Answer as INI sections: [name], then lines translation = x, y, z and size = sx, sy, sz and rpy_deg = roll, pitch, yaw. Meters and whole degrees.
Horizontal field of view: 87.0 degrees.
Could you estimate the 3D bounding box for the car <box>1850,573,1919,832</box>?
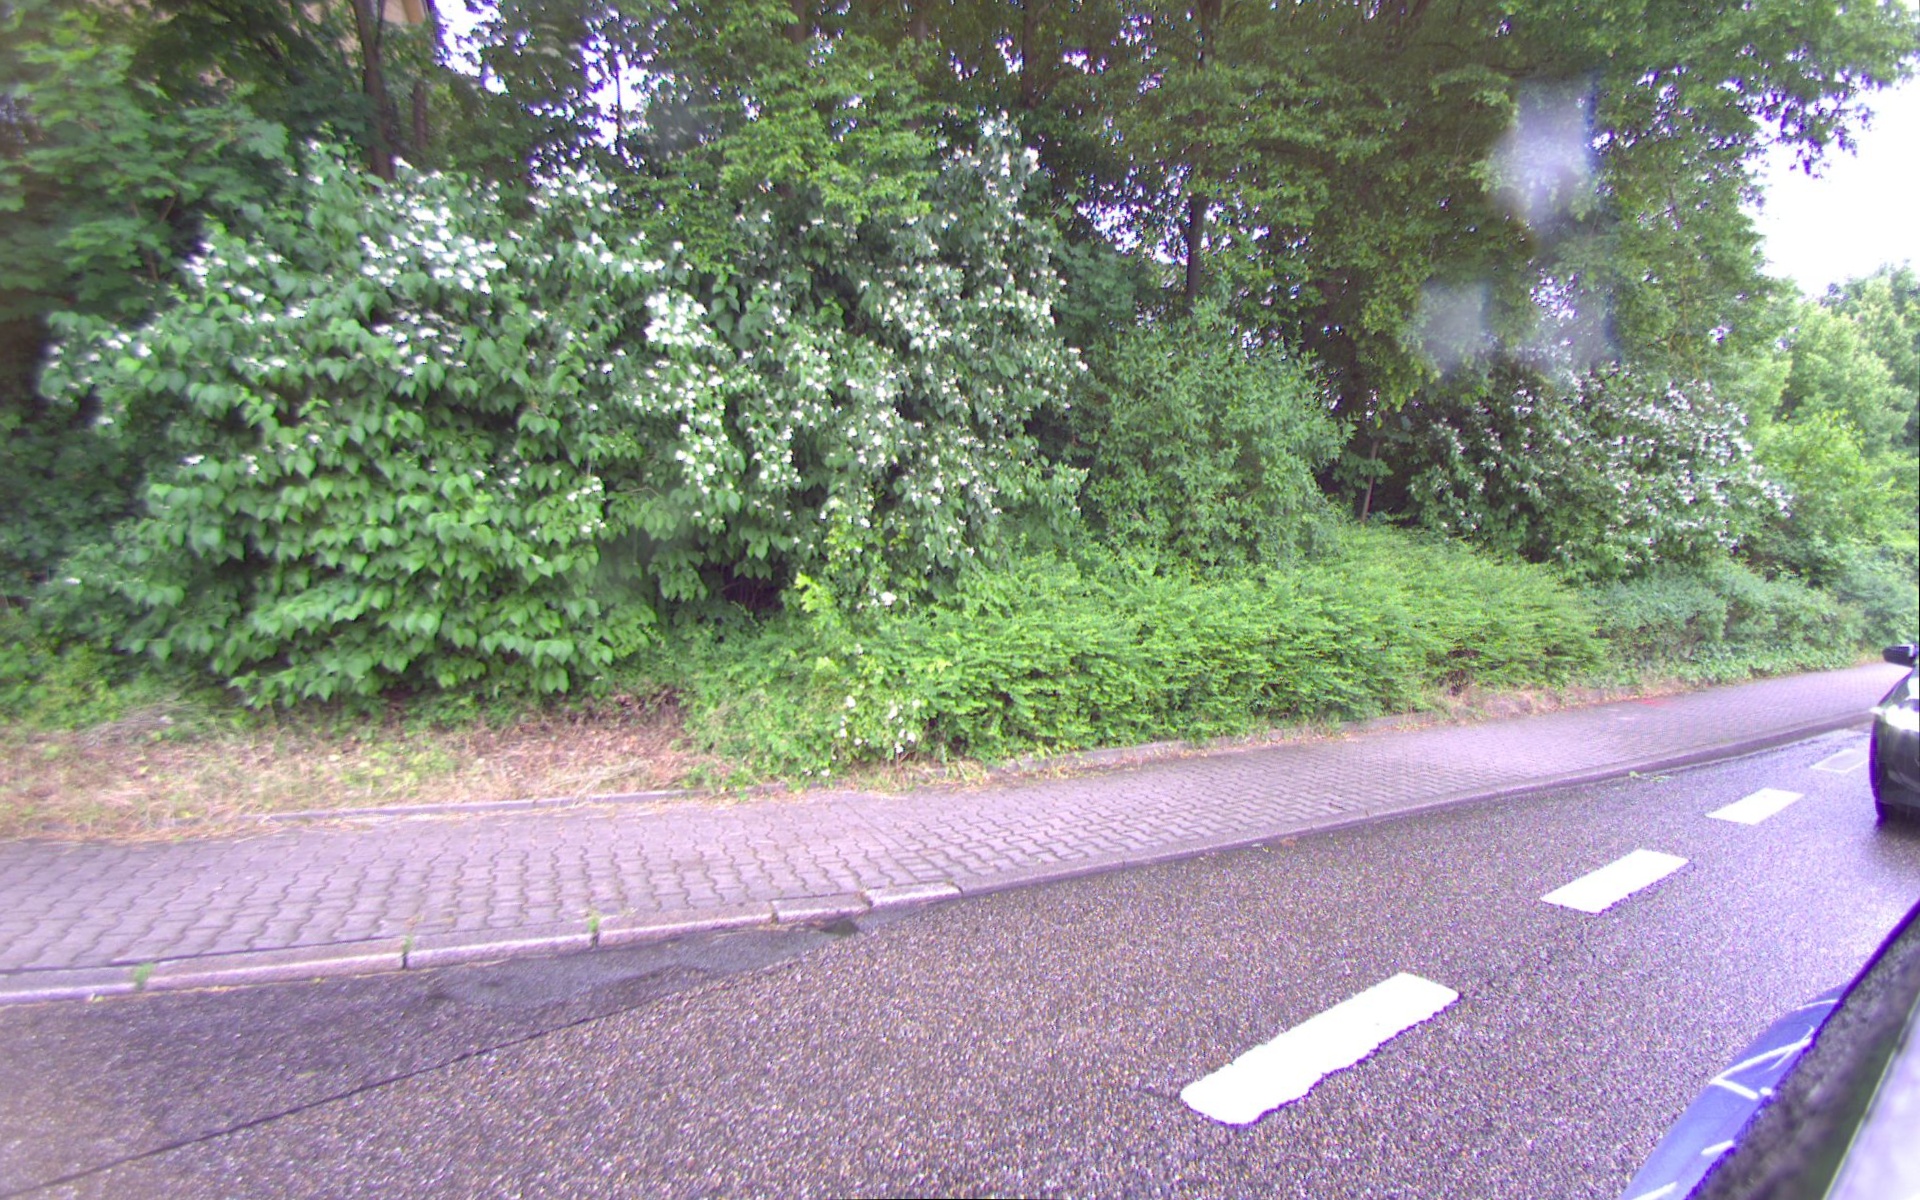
[car]
translation = 7.717, 0.632, 6.762
size = 4.121, 1.524, 1.873
rpy_deg = -1, 4, -38
